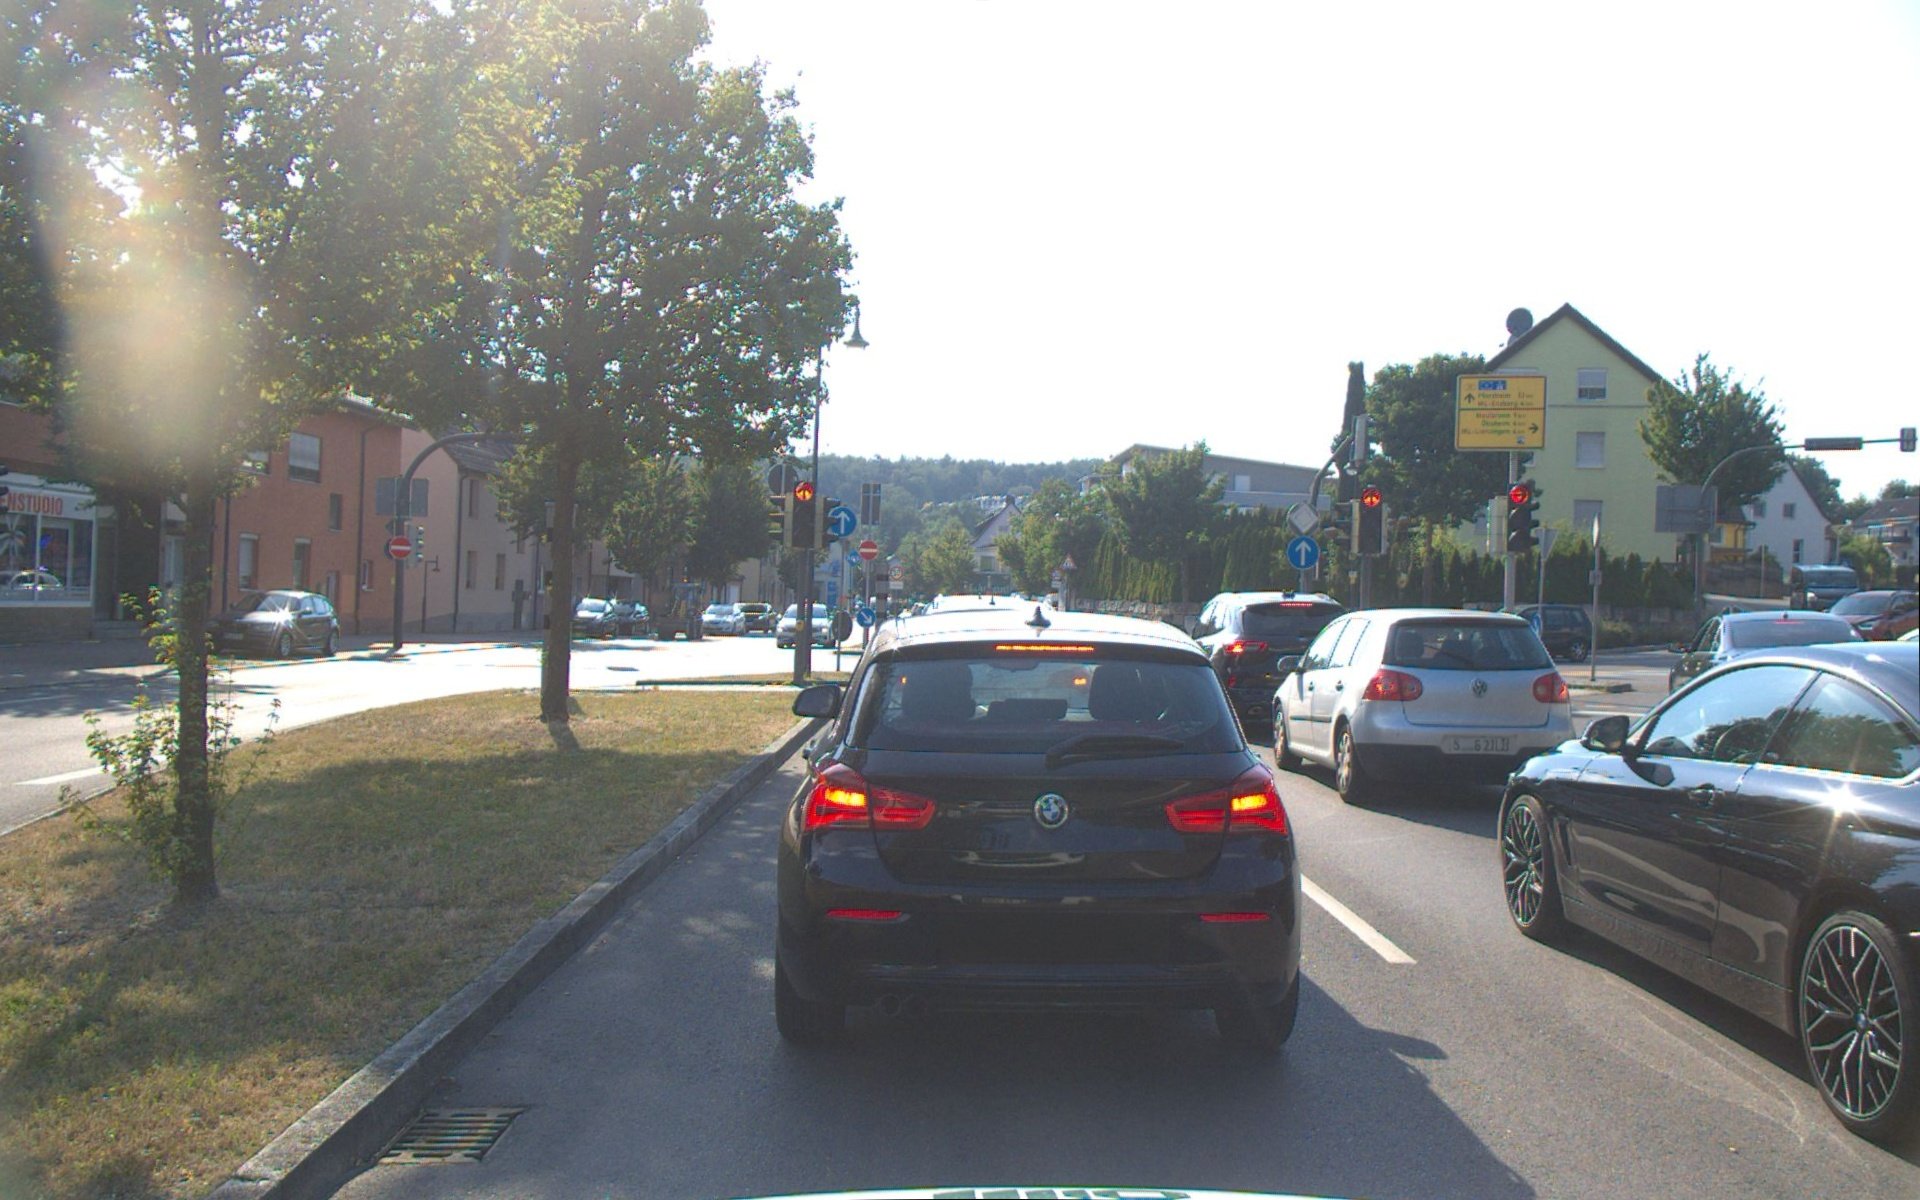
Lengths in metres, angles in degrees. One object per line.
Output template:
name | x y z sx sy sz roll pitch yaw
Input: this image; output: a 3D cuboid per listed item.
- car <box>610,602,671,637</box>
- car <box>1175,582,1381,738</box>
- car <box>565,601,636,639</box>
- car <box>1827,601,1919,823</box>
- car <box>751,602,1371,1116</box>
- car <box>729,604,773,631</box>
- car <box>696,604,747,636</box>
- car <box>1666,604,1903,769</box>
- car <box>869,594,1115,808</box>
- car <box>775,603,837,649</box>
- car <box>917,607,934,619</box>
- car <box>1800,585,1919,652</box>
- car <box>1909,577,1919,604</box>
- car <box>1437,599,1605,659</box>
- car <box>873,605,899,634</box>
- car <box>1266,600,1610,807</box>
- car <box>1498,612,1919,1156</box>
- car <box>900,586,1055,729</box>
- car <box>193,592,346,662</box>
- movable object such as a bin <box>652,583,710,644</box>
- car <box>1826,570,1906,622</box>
car | -14.111 0.833 73.193 1.701 1.323 4.001 5 0 2
car | 3.735 0.648 20.061 1.725 1.685 3.902 -1 0 0
car | -14.504 0.801 66.912 1.701 1.323 4.001 5 0 3
car | 7.610 0.799 11.631 1.583 1.569 3.320 -1 0 6
car | 0.284 0.736 6.843 1.751 1.422 4.280 -1 0 0
car | -11.593 0.965 91.957 1.701 1.323 3.800 5 0 2
car | -11.520 0.953 80.043 1.701 1.323 3.800 5 0 2
car | 9.035 0.853 18.463 1.621 1.569 4.401 -1 0 17
car | 0.226 0.715 13.988 1.751 1.520 4.280 -1 0 0
car | -5.256 0.862 56.754 1.801 1.508 3.999 1 0 -1
car | -4.075 1.518 195.229 1.701 1.323 3.800 5 0 2
car | 24.132 0.486 43.747 4.387 1.670 1.822 1 0 -39
car | 62.476 -0.585 106.624 1.930 1.709 4.202 0 0 34
car | 15.160 0.763 44.837 3.907 1.515 1.847 1 0 -3
car | -6.523 1.725 145.652 2.042 2.435 5.527 1 0 0
car | 3.781 0.740 13.779 1.725 1.451 3.902 -1 0 0
car | 3.459 0.786 5.823 1.725 1.422 4.280 -1 0 0
car | 0.197 0.648 21.028 1.751 1.622 4.280 -1 0 0
car | -15.481 0.571 37.298 1.702 1.323 3.999 5 0 -1
movable object such as a bin | -11.760 0.553 69.990 1.701 2.485 4.449 0 0 0
car | 32.650 -0.137 59.558 1.812 1.770 4.763 1 0 37
